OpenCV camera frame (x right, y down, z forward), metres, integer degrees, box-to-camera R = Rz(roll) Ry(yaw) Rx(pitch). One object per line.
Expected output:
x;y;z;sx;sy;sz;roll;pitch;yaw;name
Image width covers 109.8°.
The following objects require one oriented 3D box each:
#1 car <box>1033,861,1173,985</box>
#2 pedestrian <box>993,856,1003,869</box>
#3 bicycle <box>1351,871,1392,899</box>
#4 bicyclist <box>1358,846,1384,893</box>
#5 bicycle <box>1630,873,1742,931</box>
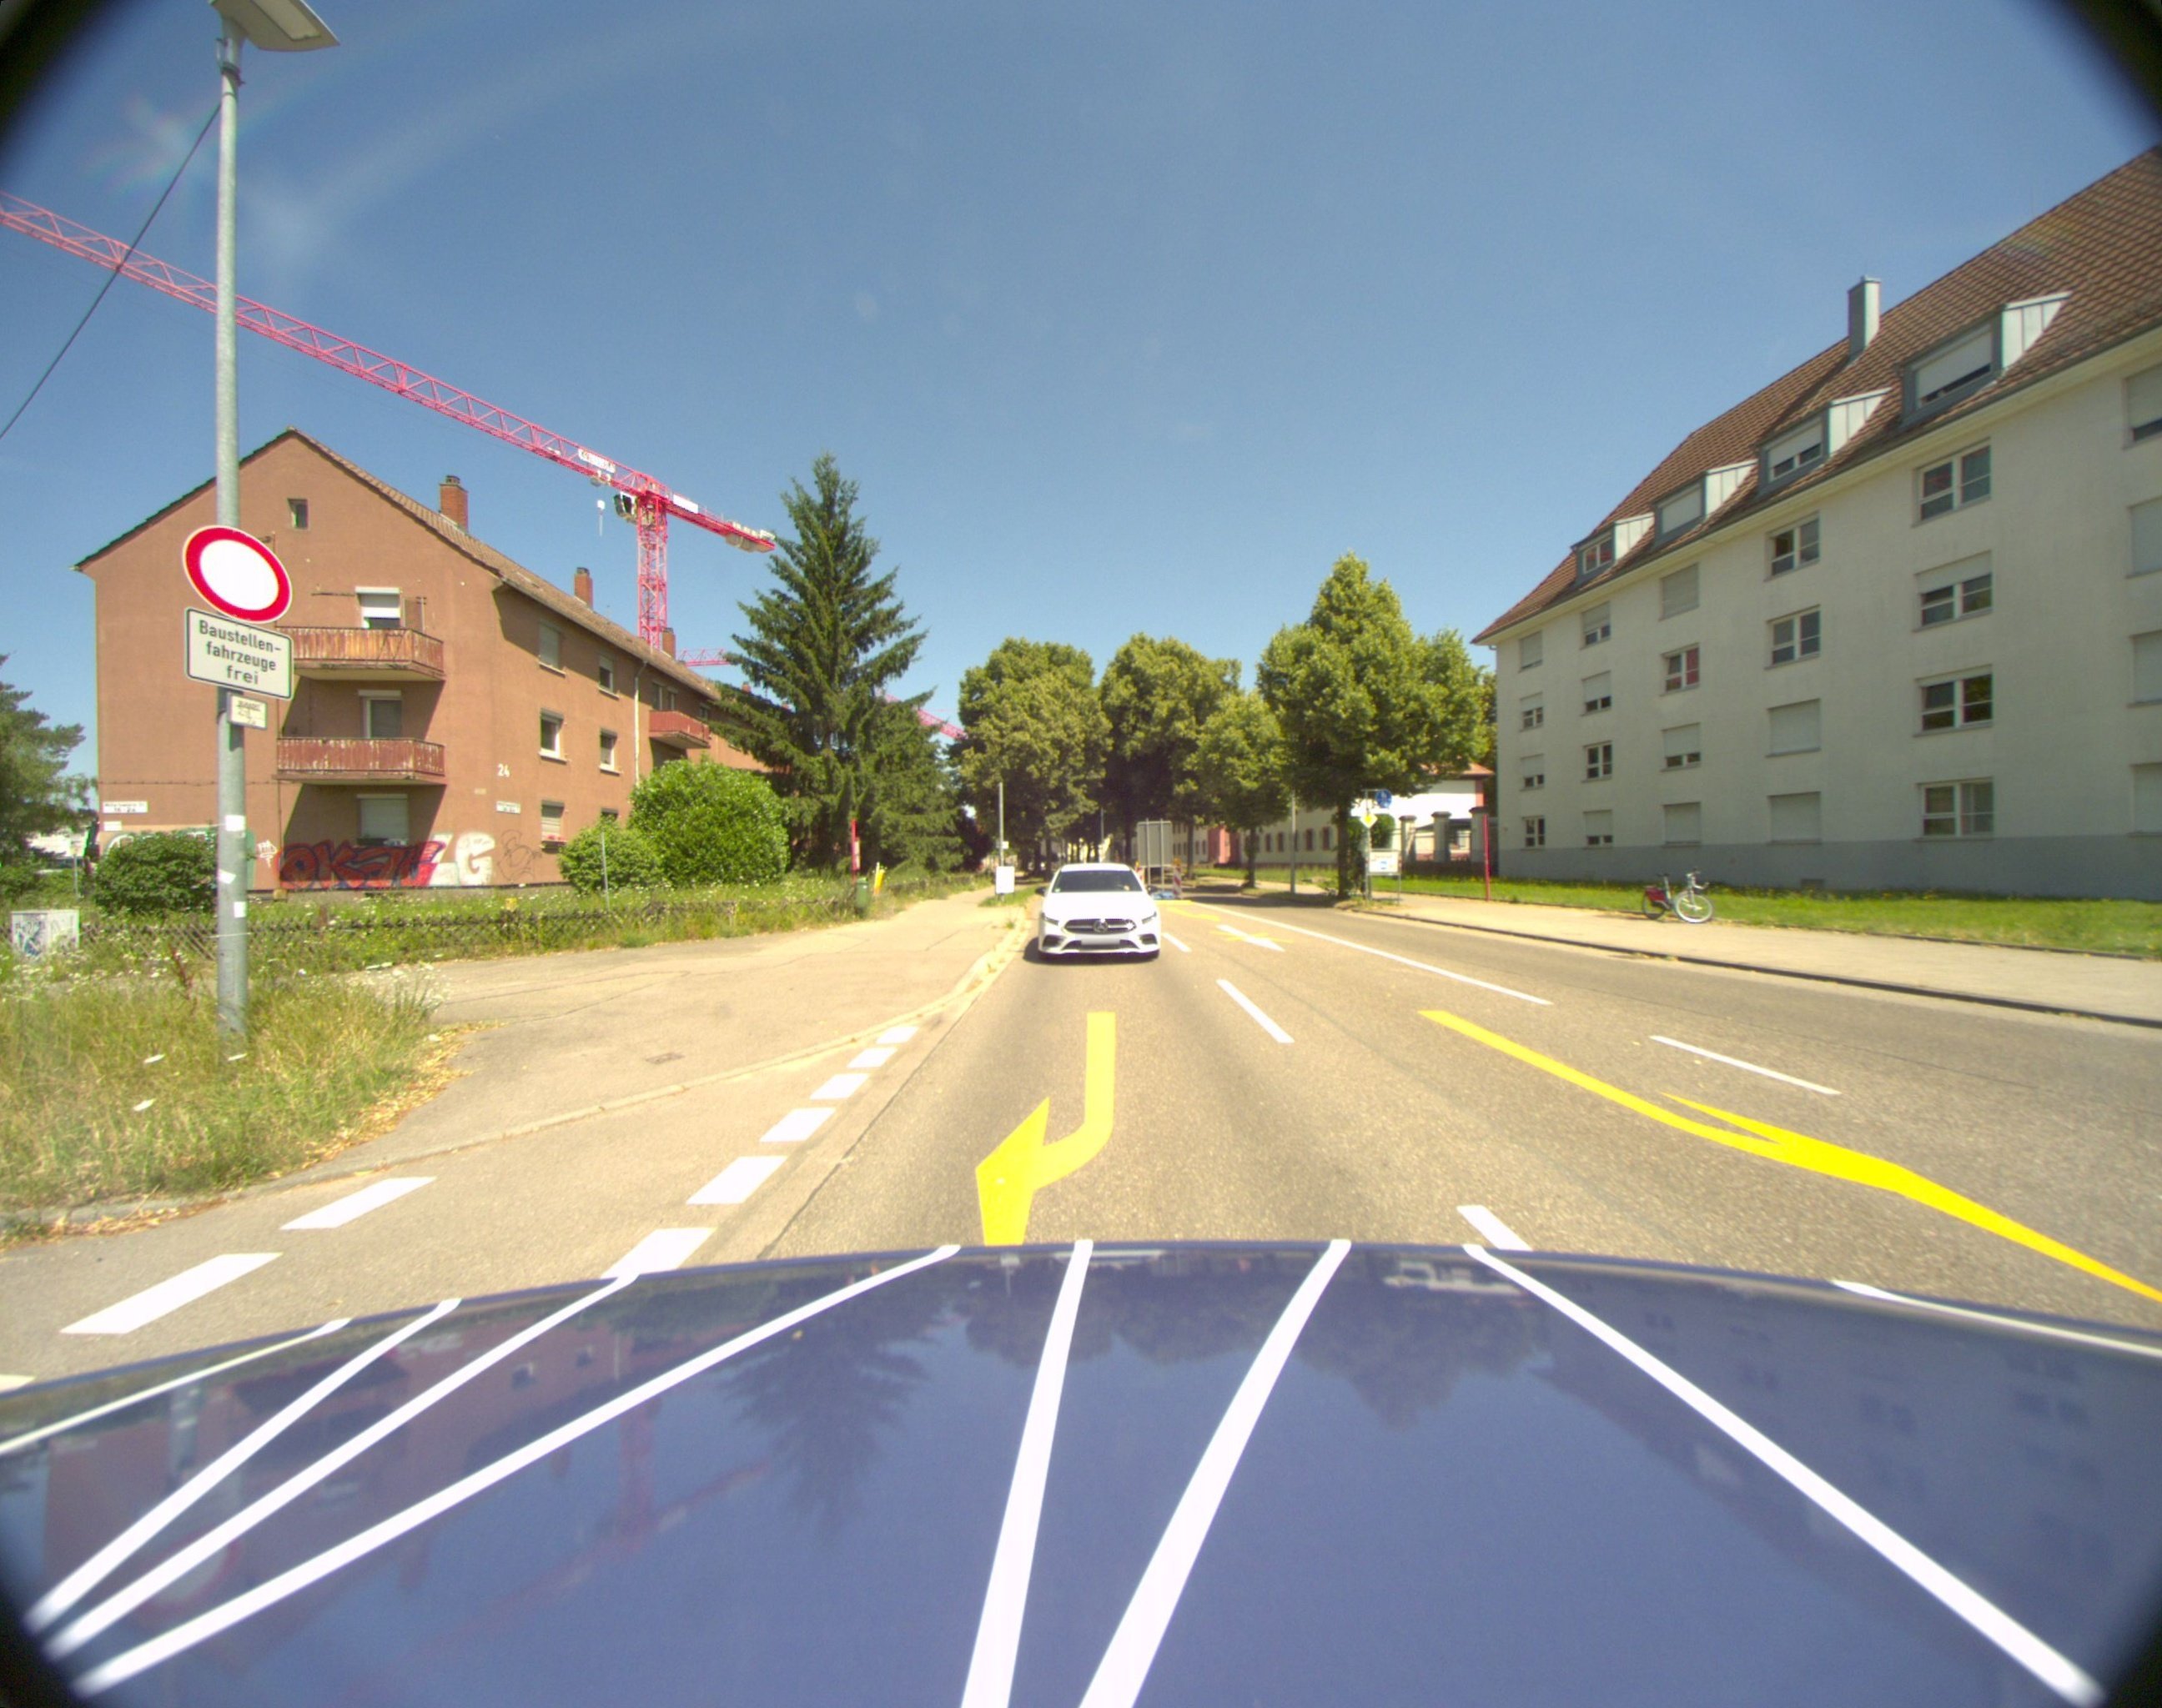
0.168;0.916;11.912;1.780;1.536;3.962;-2;0;-4;car
-9.430;0.965;86.032;1.024;1.509;0.682;-1;0;1;pedestrian
10.095;1.062;26.493;0.562;0.910;1.907;-1;0;-5;bicycle
10.093;0.546;26.421;0.568;1.601;0.740;-1;0;-5;bicyclist
12.483;0.966;15.767;0.709;1.018;1.985;-4;1;1;bicycle
